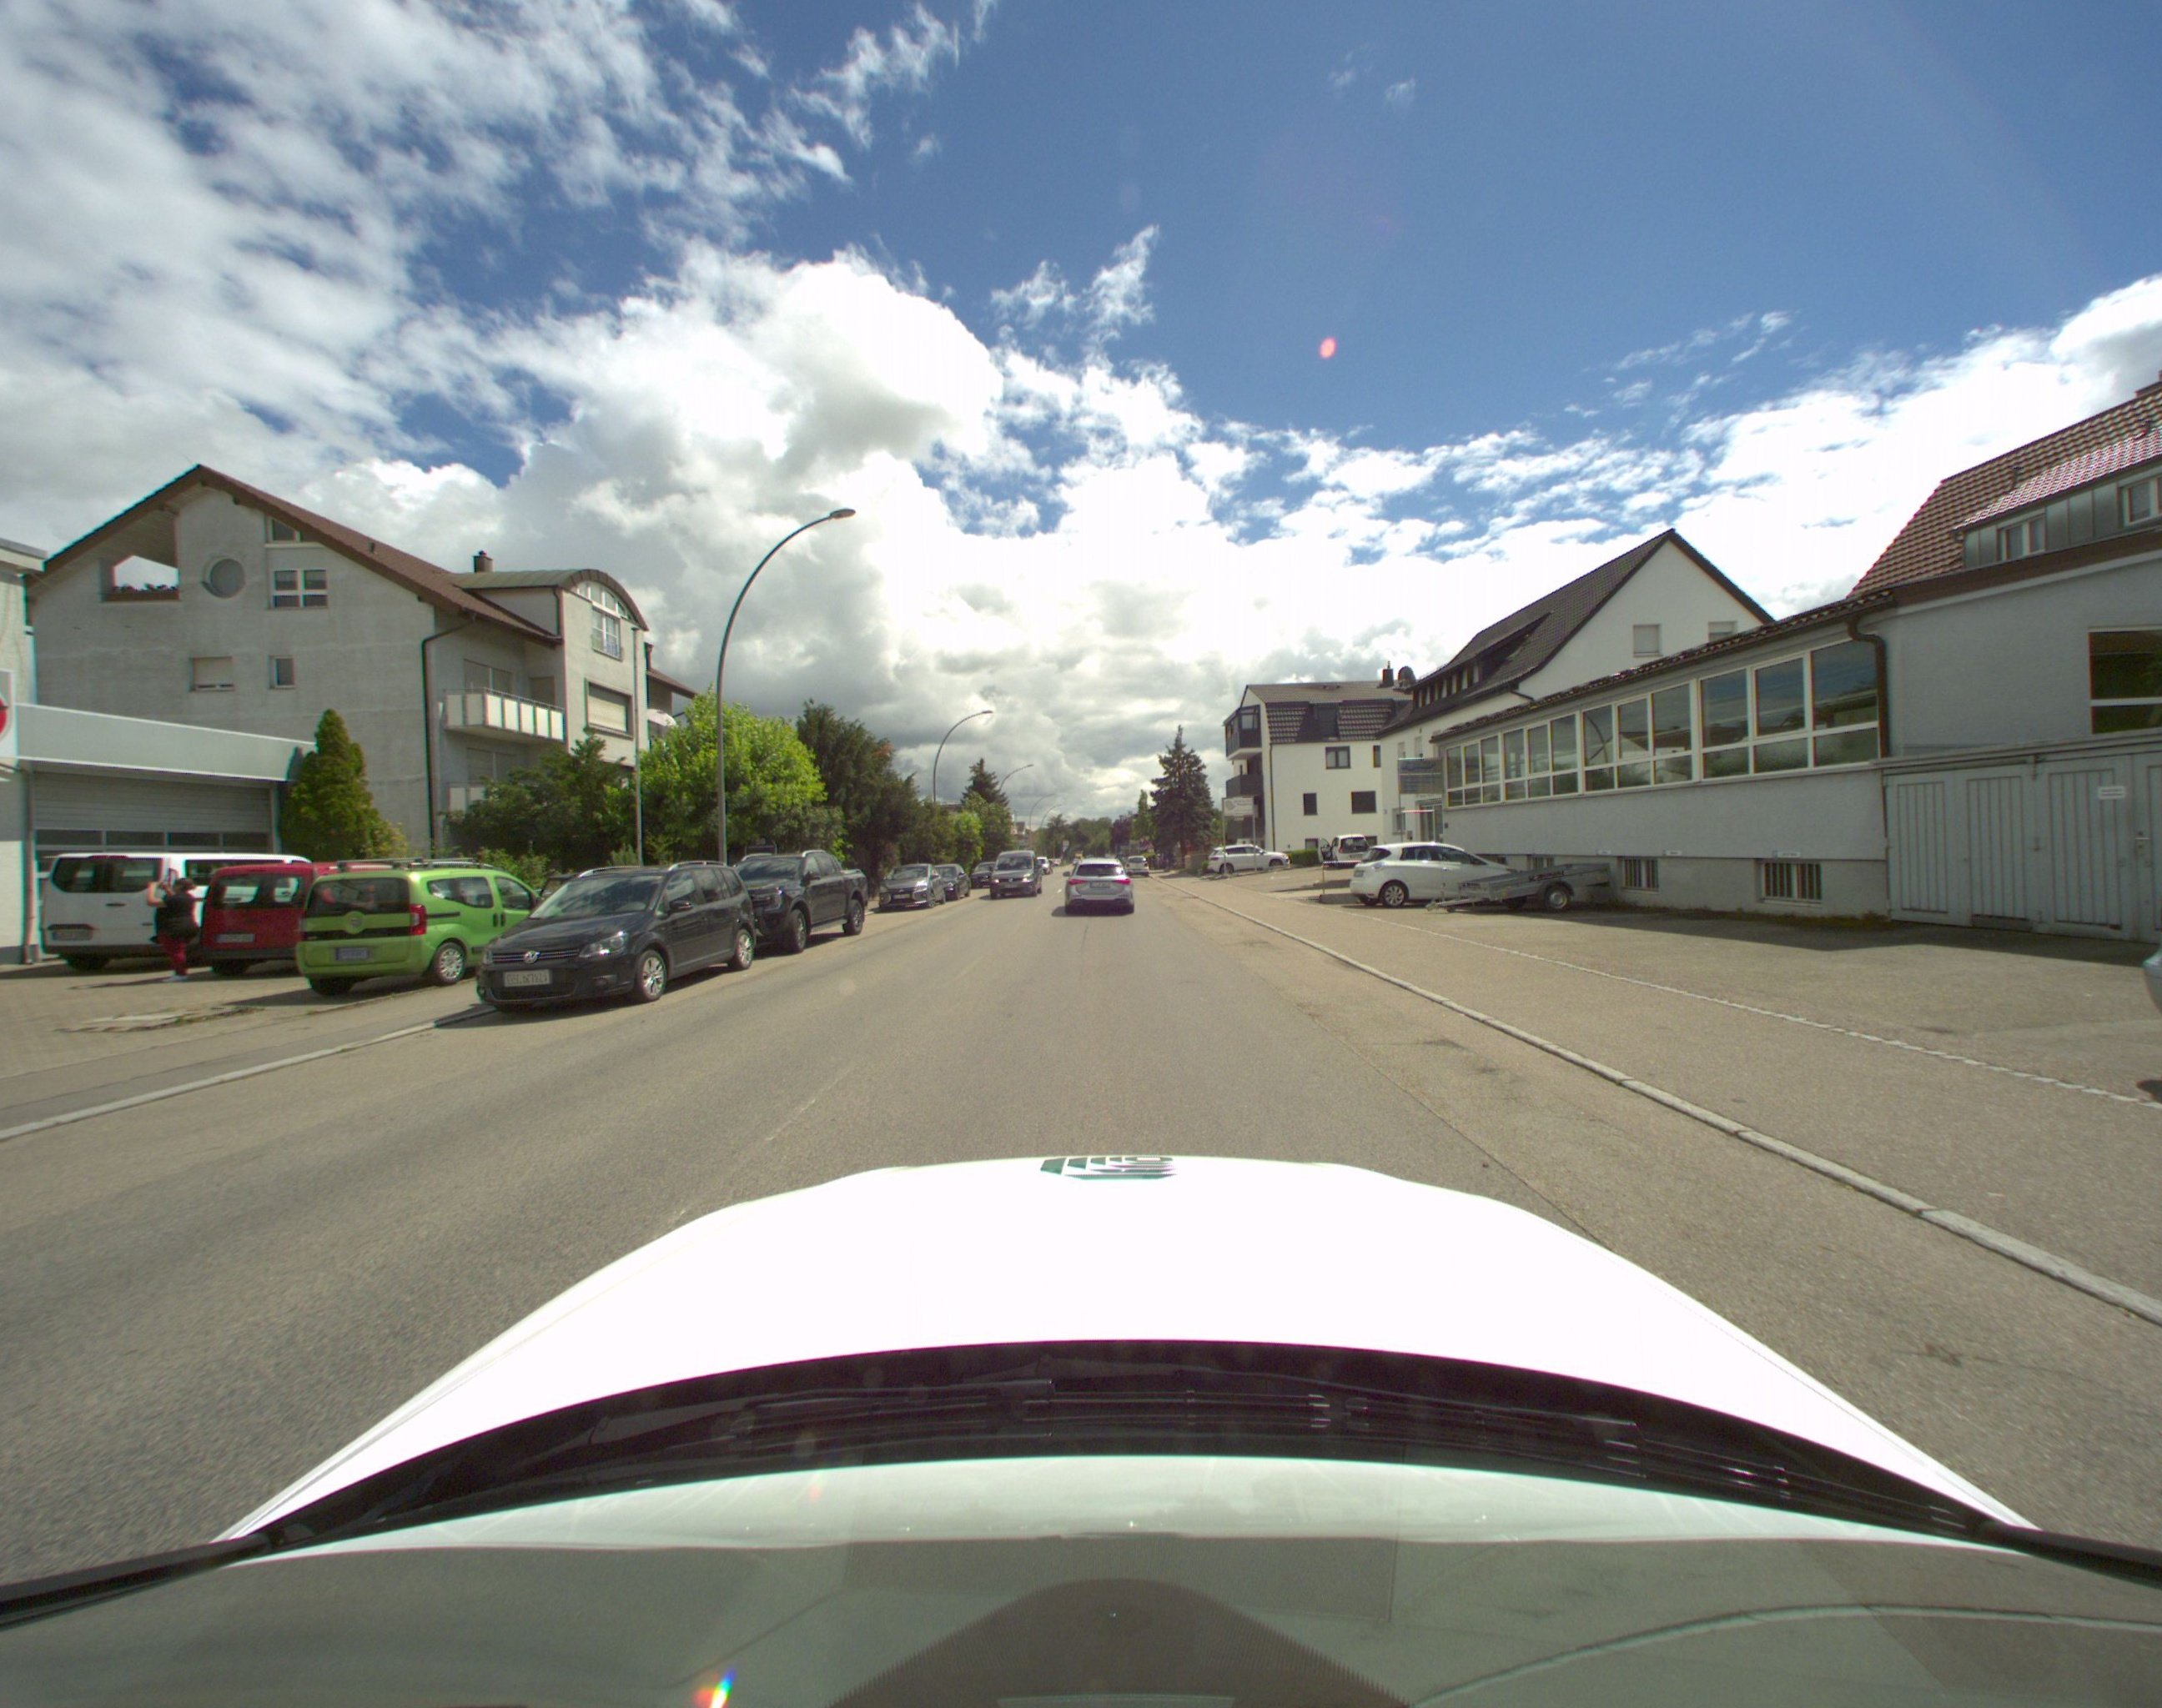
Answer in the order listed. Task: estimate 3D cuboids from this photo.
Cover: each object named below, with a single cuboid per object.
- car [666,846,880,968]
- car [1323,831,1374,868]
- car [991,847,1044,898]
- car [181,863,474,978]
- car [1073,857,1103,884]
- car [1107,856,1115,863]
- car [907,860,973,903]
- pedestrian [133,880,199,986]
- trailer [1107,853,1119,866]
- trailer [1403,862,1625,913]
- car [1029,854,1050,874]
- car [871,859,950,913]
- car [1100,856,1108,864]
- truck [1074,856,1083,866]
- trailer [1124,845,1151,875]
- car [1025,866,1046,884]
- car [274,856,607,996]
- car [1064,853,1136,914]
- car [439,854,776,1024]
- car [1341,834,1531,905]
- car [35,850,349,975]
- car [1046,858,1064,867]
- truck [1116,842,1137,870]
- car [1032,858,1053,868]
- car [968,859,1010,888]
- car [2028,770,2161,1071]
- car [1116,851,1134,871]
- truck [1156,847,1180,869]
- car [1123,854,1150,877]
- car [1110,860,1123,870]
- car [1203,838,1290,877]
[{"bbox_3d":[-5.754,0.868,16.145,1.904,1.821,5.430,-6,0,1],"label":"car"},{"bbox_3d":[12.661,-0.241,38.748,1.622,1.519,3.674,-5,1,9],"label":"car"},{"bbox_3d":[-2.445,0.688,32.187,1.657,1.796,4.338,-3,0,0],"label":"car"},{"bbox_3d":[-13.371,1.072,14.908,1.792,1.785,4.324,1,-1,-9],"label":"car"},{"bbox_3d":[0.429,0.994,50.831,1.750,1.558,3.999,-2,0,0],"label":"car"},{"bbox_3d":[8.894,1.608,240.312,2.136,1.984,5.263,-3,0,2],"label":"car"},{"bbox_3d":[-5.457,1.029,32.076,1.657,1.435,4.339,-4,0,1],"label":"car"},{"bbox_3d":[-13.861,1.187,12.345,0.411,1.558,0.493,0,0,0],"label":"pedestrian"},{"bbox_3d":[5.708,1.003,145.468,1.935,2.294,4.445,-3,-1,0],"label":"trailer"},{"bbox_3d":[9.063,0.683,17.249,3.804,0.808,1.656,-3,0,-1],"label":"trailer"},{"bbox_3d":[-4.141,0.981,81.674,1.738,1.838,4.355,-5,0,0],"label":"car"},{"bbox_3d":[-5.634,1.002,27.395,1.657,1.511,3.945,-5,0,1],"label":"car"},{"bbox_3d":[4.797,1.178,170.664,1.750,1.558,4.000,-2,0,1],"label":"car"},{"bbox_3d":[-0.624,2.015,238.603,2.067,2.814,7.082,-3,0,3],"label":"truck"},{"bbox_3d":[4.363,0.451,63.205,1.766,2.145,4.114,-3,0,1],"label":"trailer"},{"bbox_3d":[-4.229,1.944,75.903,1.634,1.487,3.999,-5,0,0],"label":"car"},{"bbox_3d":[-9.713,0.952,12.915,1.786,1.785,4.338,-1,0,0],"label":"car"},{"bbox_3d":[0.468,0.745,22.618,1.779,1.484,4.315,-1,0,0],"label":"car"},{"bbox_3d":[-5.823,0.895,10.822,1.657,1.680,4.527,-4,0,1],"label":"car"},{"bbox_3d":[8.572,0.358,19.901,3.887,1.608,1.749,-1,0,-1],"label":"car"},{"bbox_3d":[-16.357,0.987,15.401,1.878,1.980,4.318,-1,-1,-13],"label":"car"},{"bbox_3d":[-6.254,2.031,199.740,4.265,1.836,1.990,-3,-4,0],"label":"car"},{"bbox_3d":[5.181,0.281,93.796,2.312,3.097,6.044,0,0,2],"label":"truck"},{"bbox_3d":[-8.556,2.020,182.314,4.615,1.632,2.196,-5,0,-3],"label":"car"},{"bbox_3d":[-5.094,1.078,45.560,1.657,1.414,4.339,-3,0,1],"label":"car"},{"bbox_3d":[7.964,0.174,3.994,4.396,1.608,1.973,-5,0,-2],"label":"car"},{"bbox_3d":[4.723,0.750,88.273,1.866,2.169,4.466,0,0,2],"label":"car"},{"bbox_3d":[9.187,0.399,86.585,1.823,2.081,5.386,-5,1,1],"label":"truck"},{"bbox_3d":[3.913,0.797,57.463,1.712,1.432,3.987,-4,0,3],"label":"car"},{"bbox_3d":[5.916,1.787,134.129,1.933,1.571,4.449,-3,0,3],"label":"car"},{"bbox_3d":[8.847,0.204,43.765,4.178,1.654,1.867,-6,0,0],"label":"car"}]
